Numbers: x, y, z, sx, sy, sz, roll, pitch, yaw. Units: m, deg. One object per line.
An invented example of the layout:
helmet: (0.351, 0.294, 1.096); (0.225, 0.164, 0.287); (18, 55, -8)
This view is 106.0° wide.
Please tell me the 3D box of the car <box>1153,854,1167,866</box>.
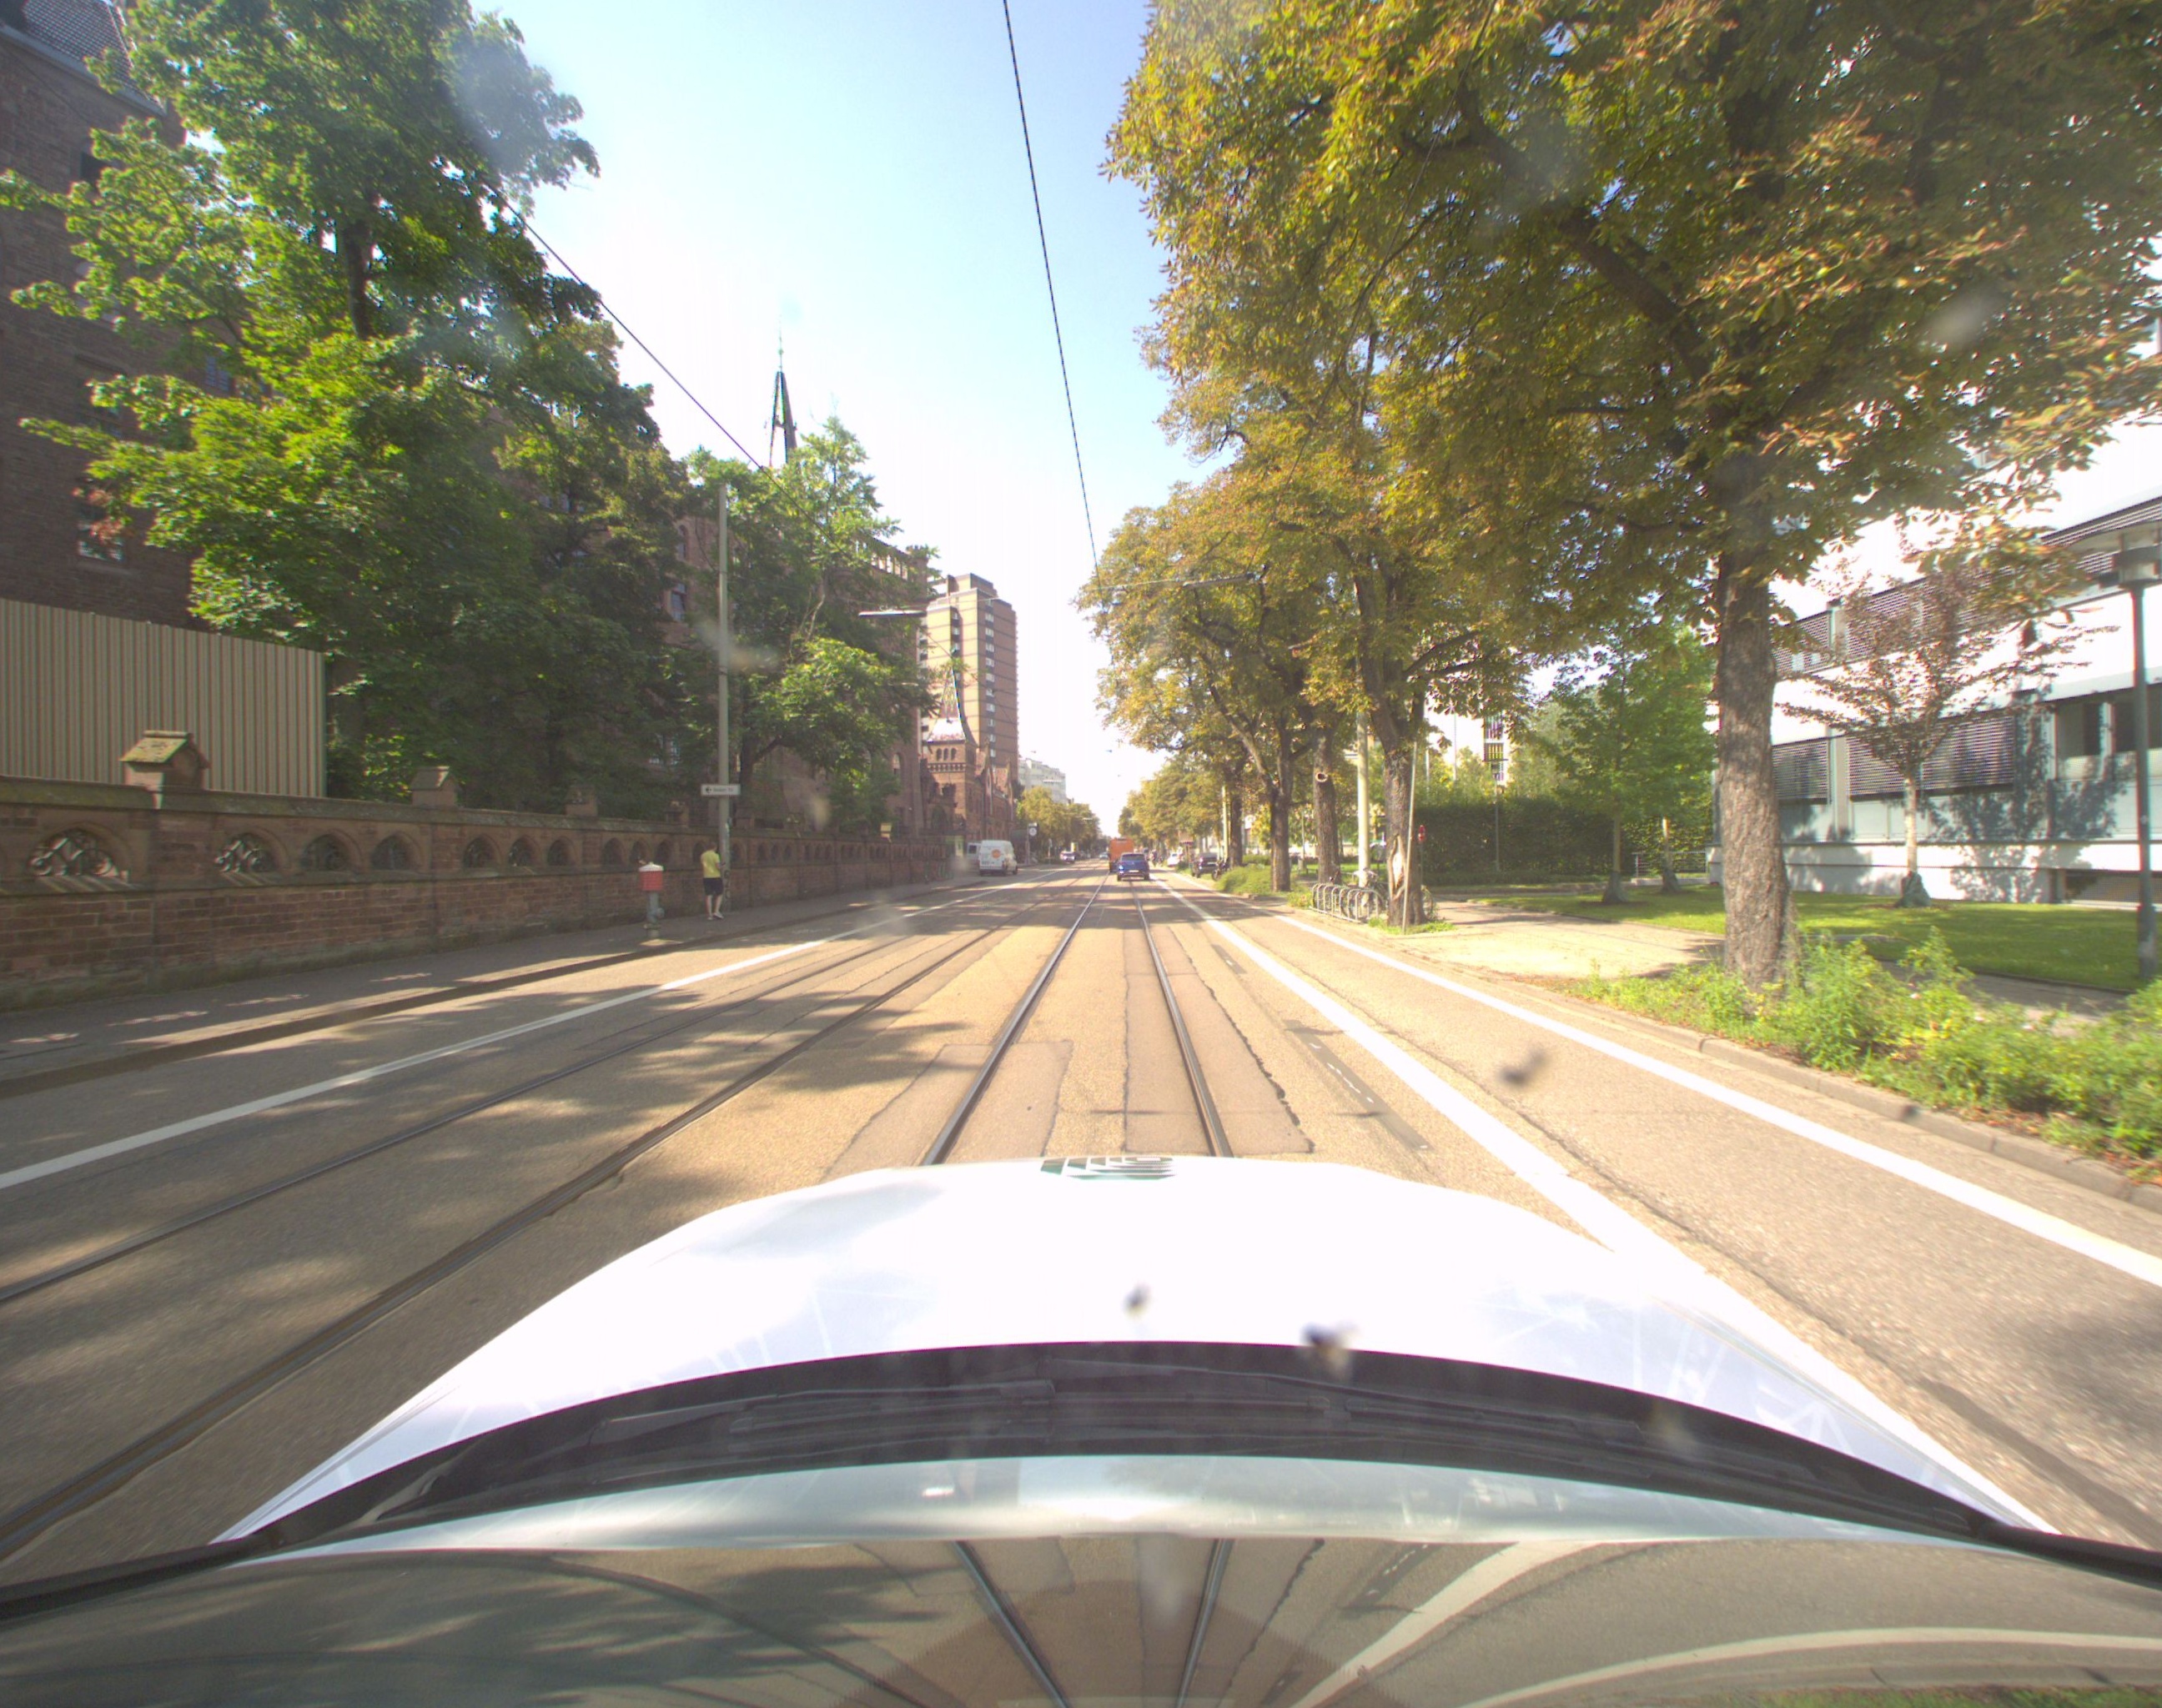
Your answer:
car: (10.764, 0.875, 111.738); (1.735, 1.556, 4.220); (-2, 0, 3)

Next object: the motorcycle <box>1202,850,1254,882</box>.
motorcycle: (7.265, 0.601, 40.293); (2.424, 1.516, 0.858); (-1, 0, 41)

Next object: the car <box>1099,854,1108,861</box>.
car: (5.095, 0.863, 181.032); (1.839, 1.492, 4.872); (-2, 0, 3)

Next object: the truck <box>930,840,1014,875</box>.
truck: (-8.790, 0.223, 65.767); (6.286, 2.538, 2.135); (2, 1, 7)

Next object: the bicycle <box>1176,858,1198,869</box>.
bicycle: (8.968, 0.789, 69.055); (1.804, 0.958, 0.558); (-1, 0, 2)

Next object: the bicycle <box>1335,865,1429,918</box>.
bicycle: (6.391, 0.786, 17.340); (1.764, 1.050, 0.541); (-2, 0, 1)

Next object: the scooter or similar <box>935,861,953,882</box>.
scooter or similar: (-7.777, 0.967, 46.153); (0.336, 1.178, 1.185); (-1, 0, 28)

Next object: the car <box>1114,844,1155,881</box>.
car: (2.970, 0.459, 45.579); (2.127, 1.858, 5.572); (-2, 0, 3)

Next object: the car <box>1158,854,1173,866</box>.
car: (10.356, 0.741, 100.188); (1.652, 1.408, 4.220); (-2, 0, 3)

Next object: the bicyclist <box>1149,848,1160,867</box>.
bicyclist: (7.321, 0.339, 80.818); (1.027, 1.812, 1.017); (-1, 0, 2)

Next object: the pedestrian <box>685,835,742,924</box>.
pedestrian: (-8.594, 0.587, 19.064); (0.861, 2.013, 0.983); (-1, 0, 1)

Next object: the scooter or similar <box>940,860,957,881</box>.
scooter or similar: (-7.704, 0.968, 47.285); (0.336, 1.178, 1.185); (-1, 0, 28)

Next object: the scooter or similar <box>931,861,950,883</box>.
scooter or similar: (-7.748, 0.965, 44.978); (0.336, 1.178, 1.185); (-1, 0, 28)

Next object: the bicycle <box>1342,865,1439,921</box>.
bicycle: (6.313, 0.786, 16.664); (1.764, 1.050, 0.541); (-2, 0, 1)

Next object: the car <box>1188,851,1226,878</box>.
car: (7.837, 0.645, 50.951); (1.749, 1.515, 4.611); (-2, 0, 2)

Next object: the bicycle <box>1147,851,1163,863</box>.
bicycle: (7.284, 0.304, 80.835); (1.396, 1.134, 4.003); (-1, 0, 3)

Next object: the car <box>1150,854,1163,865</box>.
car: (11.556, 0.808, 124.826); (1.627, 1.585, 4.190); (-1, 0, 2)

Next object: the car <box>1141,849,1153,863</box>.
car: (13.433, 0.387, 166.023); (1.986, 2.755, 5.763); (-1, 0, 2)

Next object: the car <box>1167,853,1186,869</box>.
car: (9.575, 0.687, 81.810); (1.652, 1.481, 4.220); (-2, 0, 3)

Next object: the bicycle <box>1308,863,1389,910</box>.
bicycle: (6.498, 0.789, 19.819); (1.764, 1.050, 0.541); (-2, 0, 1)

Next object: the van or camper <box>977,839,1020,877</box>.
van or camper: (-6.069, 0.274, 60.804); (2.103, 2.675, 5.962); (-1, 0, 4)

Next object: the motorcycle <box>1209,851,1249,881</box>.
motorcycle: (7.617, 0.599, 41.982); (0.853, 1.516, 2.437); (-1, 0, -22)

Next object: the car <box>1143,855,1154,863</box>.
car: (12.908, 0.975, 155.432); (1.901, 1.431, 4.294); (-1, 0, 2)

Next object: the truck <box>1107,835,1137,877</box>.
truck: (3.229, 0.149, 64.093); (2.127, 3.124, 6.089); (-2, 0, 3)

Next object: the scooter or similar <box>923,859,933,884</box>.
scooter or similar: (-7.638, 0.867, 40.666); (0.421, 1.178, 1.311); (-1, 0, -13)

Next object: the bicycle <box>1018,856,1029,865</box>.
bicycle: (-7.637, 0.899, 108.740); (1.447, 1.093, 0.399); (3, -1, -2)

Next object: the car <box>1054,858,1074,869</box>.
car: (-2.705, 1.502, 129.167); (1.754, 1.796, 3.970); (0, 0, -23)
